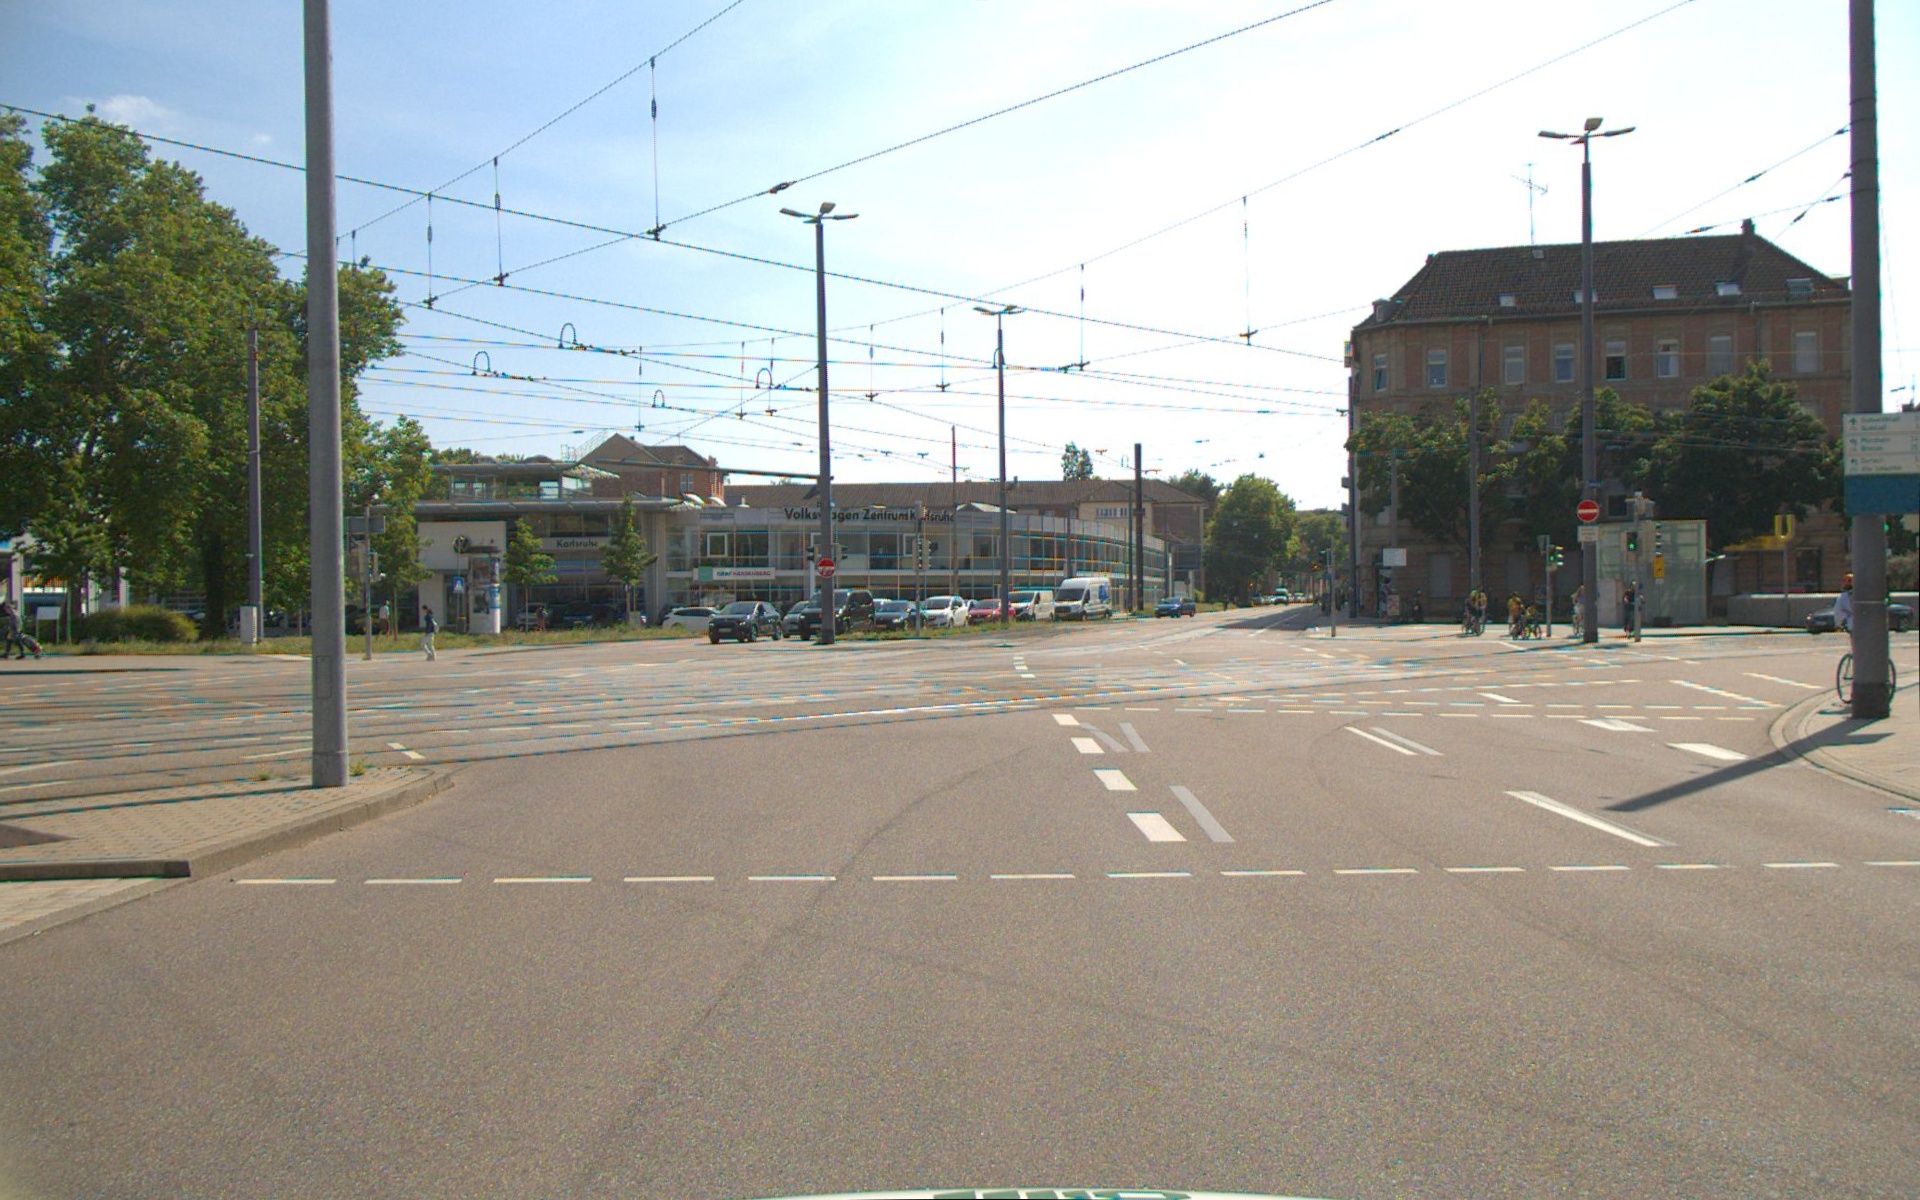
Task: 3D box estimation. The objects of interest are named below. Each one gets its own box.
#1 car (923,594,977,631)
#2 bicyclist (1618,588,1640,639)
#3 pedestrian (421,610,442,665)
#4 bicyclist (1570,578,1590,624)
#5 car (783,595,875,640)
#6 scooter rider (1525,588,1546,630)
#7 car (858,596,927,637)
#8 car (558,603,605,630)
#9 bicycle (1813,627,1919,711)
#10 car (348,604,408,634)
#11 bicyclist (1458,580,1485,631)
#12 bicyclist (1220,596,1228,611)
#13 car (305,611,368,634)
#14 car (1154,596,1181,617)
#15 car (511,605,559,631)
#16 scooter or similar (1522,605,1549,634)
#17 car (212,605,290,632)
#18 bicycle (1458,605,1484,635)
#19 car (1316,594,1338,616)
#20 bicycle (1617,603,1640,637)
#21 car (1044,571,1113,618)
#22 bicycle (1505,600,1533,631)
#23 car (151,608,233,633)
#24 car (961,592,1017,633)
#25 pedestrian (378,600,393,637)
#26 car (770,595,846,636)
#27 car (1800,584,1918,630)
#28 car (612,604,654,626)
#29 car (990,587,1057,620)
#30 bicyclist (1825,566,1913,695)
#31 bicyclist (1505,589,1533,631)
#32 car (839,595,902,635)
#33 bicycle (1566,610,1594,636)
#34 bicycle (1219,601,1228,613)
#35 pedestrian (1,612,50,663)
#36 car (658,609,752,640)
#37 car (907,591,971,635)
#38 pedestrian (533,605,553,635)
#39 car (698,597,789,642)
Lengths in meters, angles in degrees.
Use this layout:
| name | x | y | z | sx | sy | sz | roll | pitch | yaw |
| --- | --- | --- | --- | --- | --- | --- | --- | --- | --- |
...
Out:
| name | x | y | z | sx | sy | sz | roll | pitch | yaw |
| --- | --- | --- | --- | --- | --- | --- | --- | --- | --- |
| car | -0.506 | 0.702 | 87.920 | 1.768 | 1.878 | 4.203 | -1 | -1 | 15 |
| bicyclist | 22.038 | 0.435 | 54.505 | 0.653 | 1.652 | 0.783 | 1 | 0 | 21 |
| pedestrian | -15.820 | 1.136 | 49.509 | 0.449 | 1.633 | 0.395 | 2 | -1 | -37 |
| bicyclist | 22.390 | 0.033 | 59.734 | 0.490 | 1.649 | 0.650 | 1 | 0 | 4 |
| car | -4.840 | 0.618 | 61.871 | 1.919 | 1.615 | 4.719 | -1 | 0 | 16 |
| scooter rider | 19.963 | 0.320 | 57.376 | 0.575 | 1.422 | 0.406 | 1 | -1 | -2 |
| car | -2.780 | 0.706 | 69.107 | 1.854 | 1.616 | 4.003 | -1 | -1 | 13 |
| car | -22.364 | 0.957 | 97.838 | 1.954 | 1.512 | 3.998 | 1 | -1 | -3 |
| bicycle | 12.552 | 0.928 | 22.809 | 0.699 | 1.033 | 2.022 | -3 | 0 | 7 |
| car | -34.587 | 1.145 | 98.398 | 1.952 | 1.713 | 4.002 | 1 | -1 | 4 |
| bicyclist | 18.643 | 0.211 | 60.319 | 0.907 | 1.852 | 1.053 | 1 | -1 | 18 |
| bicyclist | 27.878 | 0.378 | 174.916 | 0.736 | 1.595 | 1.088 | 1 | -1 | 12 |
| car | -36.892 | 1.316 | 97.943 | 1.952 | 1.266 | 4.002 | 1 | -1 | 4 |
| car | 14.860 | 0.476 | 118.603 | 1.355 | 1.439 | 3.014 | 1 | -1 | 18 |
| car | -25.094 | 1.037 | 97.797 | 1.954 | 1.512 | 3.998 | -1 | 0 | -3 |
| scooter or similar | 19.958 | 0.672 | 57.345 | 0.575 | 0.993 | 0.991 | 1 | -1 | -1 |
| car | -43.591 | 1.156 | 101.770 | 3.907 | 1.579 | 1.999 | -1 | 0 | -3 |
| bicycle | 18.709 | 0.739 | 60.548 | 0.907 | 1.088 | 2.748 | 1 | -1 | 17 |
| car | 36.503 | 0.460 | 164.435 | 2.063 | 2.048 | 4.004 | -2 | 1 | 13 |
| bicycle | 22.324 | 0.651 | 55.275 | 0.653 | 1.088 | 2.463 | 1 | 0 | 21 |
| car | 7.051 | -0.272 | 97.808 | 2.164 | 2.620 | 5.871 | 1 | -1 | 25 |
| bicycle | 20.354 | 0.550 | 60.283 | 0.907 | 1.088 | 2.843 | 1 | 0 | 18 |
| car | -45.781 | 1.242 | 98.671 | 3.906 | 1.395 | 1.999 | 1 | -1 | -2 |
| car | 1.497 | 0.656 | 83.405 | 1.854 | 1.950 | 4.203 | -1 | -1 | 15 |
| pedestrian | -25.739 | 0.834 | 74.097 | 0.384 | 1.624 | 0.464 | 1 | -1 | 22 |
| car | -6.270 | 0.672 | 68.670 | 1.854 | 1.616 | 4.002 | -1 | -1 | 16 |
| car | 32.507 | 0.244 | 59.831 | 3.930 | 1.611 | 1.628 | -1 | 0 | -22 |
| car | -19.232 | 0.895 | 97.528 | 1.793 | 1.216 | 3.998 | 1 | -1 | -2 |
| car | 3.507 | 0.192 | 90.513 | 2.140 | 1.710 | 5.029 | -1 | 0 | 21 |
| bicyclist | 12.518 | 0.413 | 22.806 | 0.699 | 1.698 | 0.875 | -3 | -1 | 7 |
| bicyclist | 20.342 | 0.353 | 60.214 | 0.907 | 1.477 | 1.252 | 1 | 0 | 18 |
| car | -4.064 | 0.693 | 76.047 | 1.616 | 1.769 | 4.203 | -1 | -1 | 15 |
| bicycle | 22.361 | 0.829 | 59.654 | 0.490 | 0.881 | 1.588 | 1 | 0 | 4 |
| bicycle | 27.862 | 0.787 | 174.876 | 0.736 | 1.215 | 2.841 | 1 | -1 | 12 |
| pedestrian | -26.751 | 1.068 | 47.364 | 1.099 | 1.428 | 0.652 | 1 | -1 | -23 |
| car | -13.112 | 1.265 | 85.078 | 4.487 | 1.461 | 1.445 | 1 | -1 | 13 |
| car | -0.936 | 0.613 | 76.447 | 1.854 | 1.950 | 4.203 | -1 | -1 | 15 |
| pedestrian | -22.726 | 1.109 | 90.081 | 0.935 | 1.608 | 0.534 | 1 | -1 | -5 |
| car | -8.043 | 0.745 | 61.813 | 1.851 | 1.616 | 4.213 | -1 | -1 | 16 |
